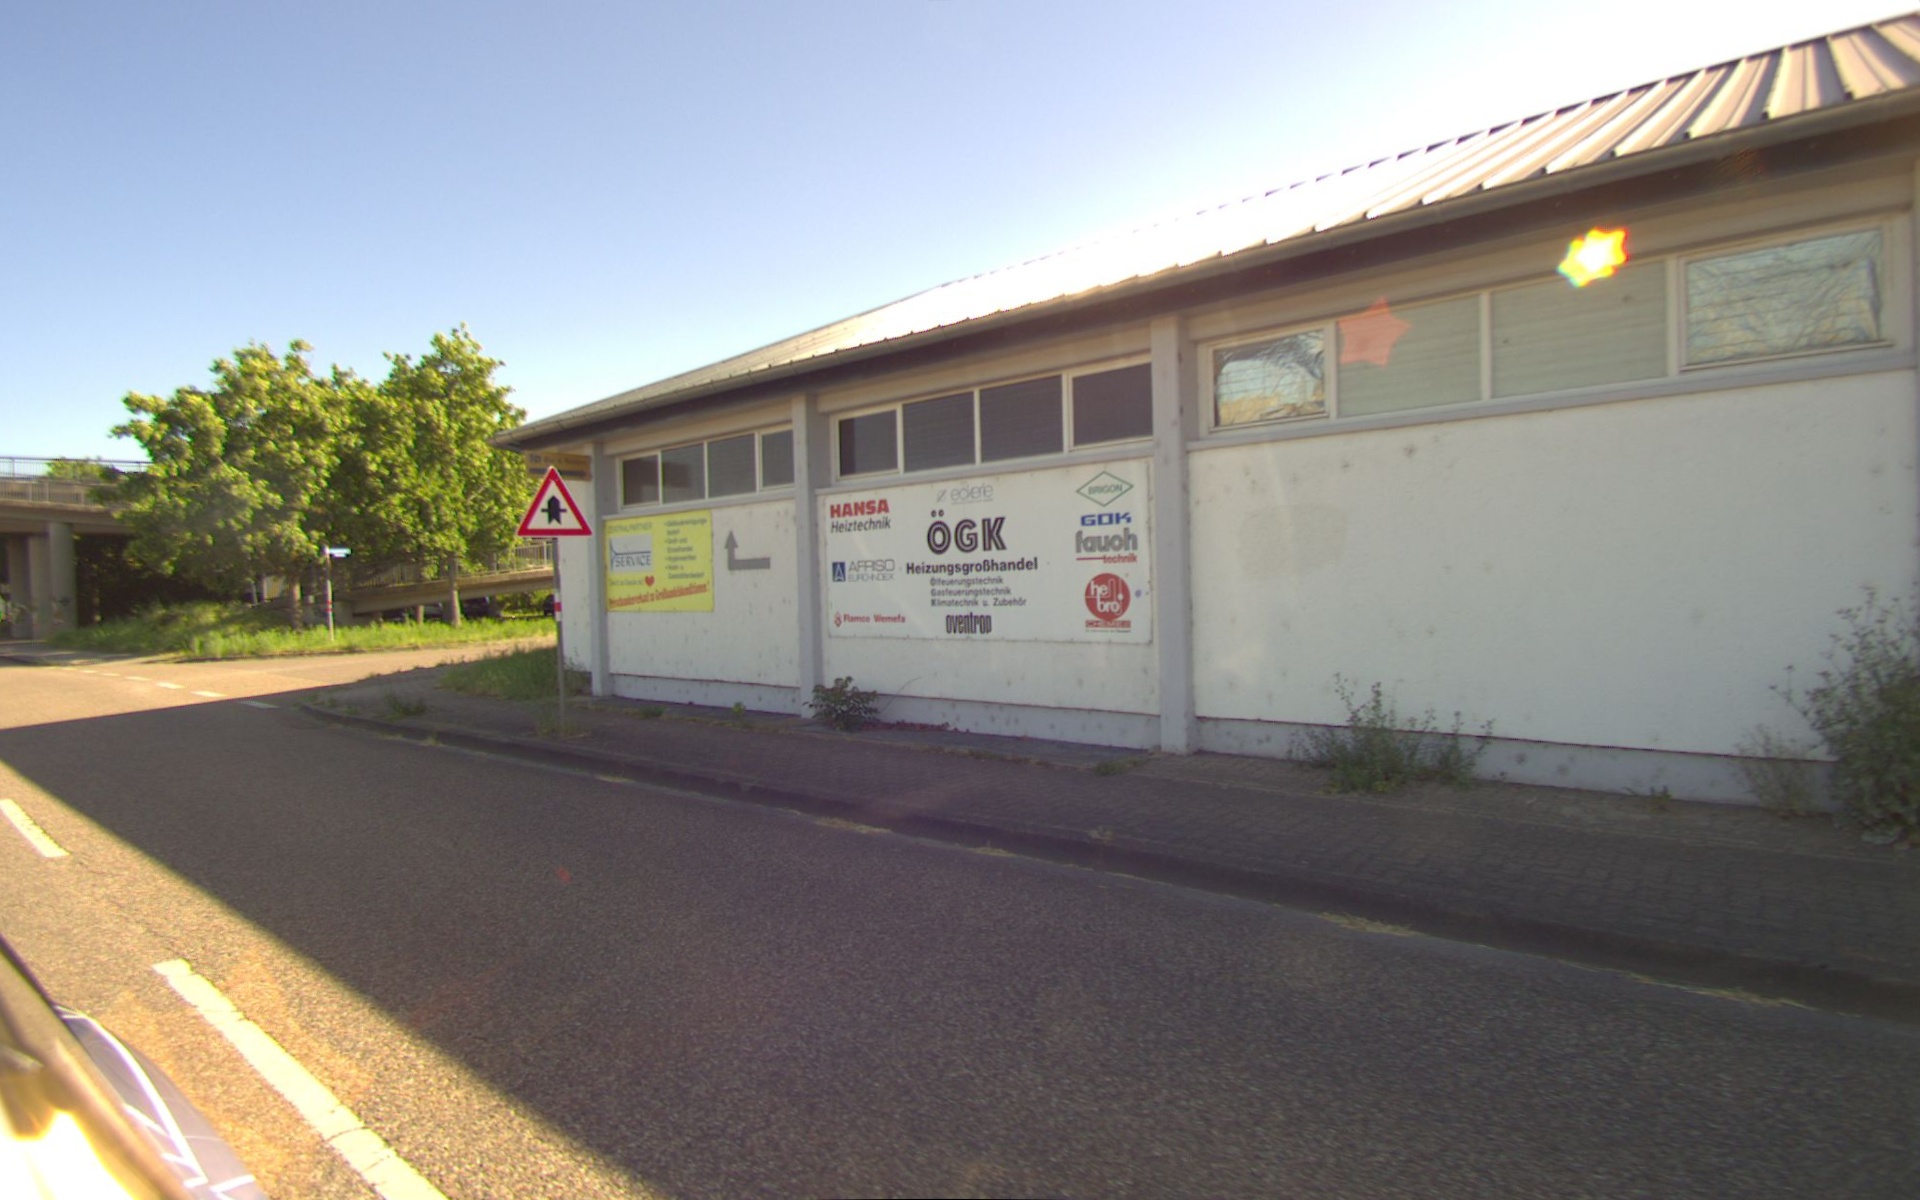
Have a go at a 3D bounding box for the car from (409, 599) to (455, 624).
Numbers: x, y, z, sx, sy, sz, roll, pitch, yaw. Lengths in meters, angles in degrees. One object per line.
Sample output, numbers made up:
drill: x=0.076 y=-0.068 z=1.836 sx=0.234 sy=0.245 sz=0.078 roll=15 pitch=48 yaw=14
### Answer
car: x=-34.055 y=0.702 z=65.340 sx=1.711 sy=1.453 sz=4.263 roll=-2 pitch=1 yaw=-15

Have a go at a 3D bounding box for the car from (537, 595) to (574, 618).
car: x=-26.994 y=0.398 z=67.664 sx=1.711 sy=1.453 sz=4.263 roll=-2 pitch=1 yaw=-15

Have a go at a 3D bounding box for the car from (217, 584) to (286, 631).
car: x=-43.508 y=0.479 z=62.266 sx=1.913 sy=2.702 sz=6.028 roll=-2 pitch=0 yaw=-20

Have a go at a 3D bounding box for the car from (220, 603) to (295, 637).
car: x=-36.333 y=1.005 z=52.457 sx=1.838 sy=1.654 sz=4.294 roll=1 pitch=-1 yaw=-15

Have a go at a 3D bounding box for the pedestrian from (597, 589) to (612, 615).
pedestrian: x=-23.106 y=0.120 z=65.766 sx=0.658 sy=1.675 sz=0.712 roll=-2 pitch=1 yaw=-38

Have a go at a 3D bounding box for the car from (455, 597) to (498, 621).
car: x=-31.543 y=0.579 z=66.104 sx=1.711 sy=1.453 sz=4.263 roll=-2 pitch=1 yaw=-15

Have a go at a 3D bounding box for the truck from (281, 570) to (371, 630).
truck: x=-40.919 y=-0.046 z=65.634 sx=2.441 sy=3.578 sz=7.989 roll=-2 pitch=1 yaw=-14

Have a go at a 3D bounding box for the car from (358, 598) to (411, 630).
car: x=-30.375 y=0.693 z=53.483 sx=1.654 sy=1.564 sz=4.312 roll=-2 pitch=1 yaw=-19
